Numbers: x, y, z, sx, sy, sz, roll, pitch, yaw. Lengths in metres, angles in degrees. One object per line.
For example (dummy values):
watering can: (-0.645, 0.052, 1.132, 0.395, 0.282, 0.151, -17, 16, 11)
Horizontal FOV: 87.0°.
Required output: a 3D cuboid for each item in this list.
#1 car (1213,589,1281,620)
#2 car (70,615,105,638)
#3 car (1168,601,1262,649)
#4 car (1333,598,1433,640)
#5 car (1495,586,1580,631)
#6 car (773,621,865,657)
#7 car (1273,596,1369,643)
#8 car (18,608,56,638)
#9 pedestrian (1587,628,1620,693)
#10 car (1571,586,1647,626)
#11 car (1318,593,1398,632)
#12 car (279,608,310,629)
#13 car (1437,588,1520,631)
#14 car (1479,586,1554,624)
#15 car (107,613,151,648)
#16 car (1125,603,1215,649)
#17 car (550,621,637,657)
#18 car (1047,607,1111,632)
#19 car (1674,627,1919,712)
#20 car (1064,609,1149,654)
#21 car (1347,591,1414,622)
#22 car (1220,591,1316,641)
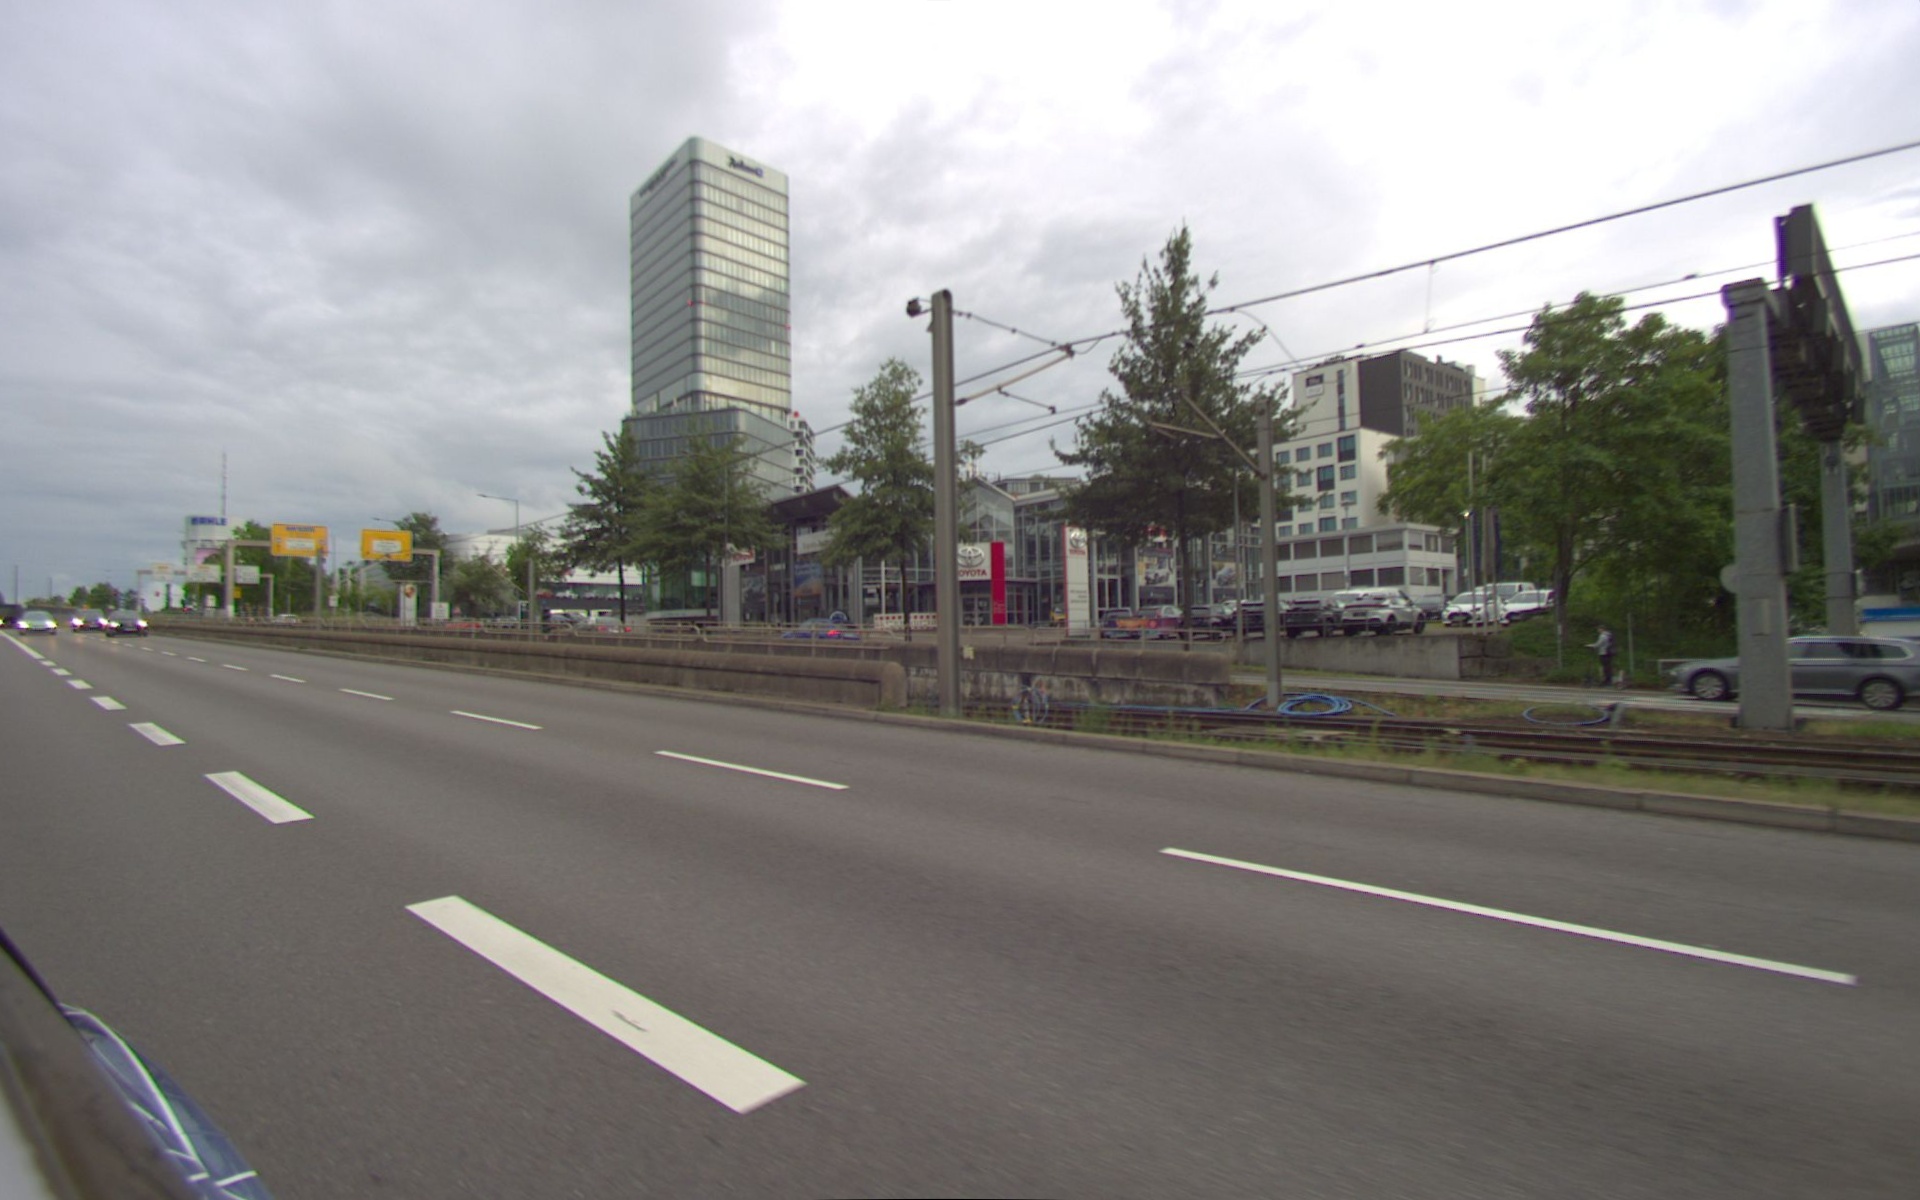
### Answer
car: (17.256, 0.246, 60.751, 4.300, 1.828, 1.888, -1, 0, -42)
car: (-62.070, 1.855, 71.951, 1.768, 1.556, 4.382, -1, 0, -42)
car: (11.184, 1.032, 44.205, 4.300, 1.962, 1.888, -1, 0, -42)
car: (16.305, 0.688, 38.938, 4.300, 1.515, 1.888, -1, 0, -42)
car: (24.854, 0.345, 43.519, 4.300, 1.828, 1.888, -1, 0, -42)
car: (-5.893, 1.600, 42.085, 1.745, 1.319, 4.116, -1, 0, -43)
car: (14.580, 0.747, 40.765, 4.135, 1.785, 1.888, -1, 0, -42)
car: (-59.333, 1.447, 65.082, 1.768, 1.882, 4.382, -1, 0, -42)
pedestrian: (18.334, 1.709, 28.826, 0.678, 1.809, 0.637, -1, 0, -44)
car: (29.901, 0.249, 46.570, 4.300, 1.784, 1.846, -1, 0, -42)
car: (19.553, 0.584, 49.621, 4.300, 1.828, 1.888, -1, 0, -42)
car: (-62.596, 1.676, 95.231, 1.768, 1.882, 4.382, -1, 0, -42)
car: (23.180, 0.396, 45.182, 4.300, 1.828, 1.888, -1, 0, -42)
car: (27.573, 0.204, 50.099, 4.300, 1.784, 1.888, -1, 0, -42)
car: (-48.111, 1.745, 58.573, 1.768, 1.882, 4.382, -1, 0, -42)
car: (9.647, 1.133, 46.337, 4.301, 1.962, 1.887, -1, 0, -43)
car: (-16.158, 1.674, 44.483, 1.768, 1.411, 4.879, -1, 0, -44)
car: (7.335, 1.170, 62.209, 3.938, 1.417, 1.762, -1, 0, -42)
car: (17.754, 1.373, 20.931, 2.023, 1.540, 4.571, -1, -1, -44)
car: (7.039, 1.466, 48.363, 4.165, 1.962, 1.866, -1, 0, -43)
car: (22.503, 0.341, 54.126, 3.860, 1.605, 1.805, -1, 0, -42)
car: (12.931, 0.625, 42.412, 4.300, 1.962, 1.888, -1, 0, -42)
